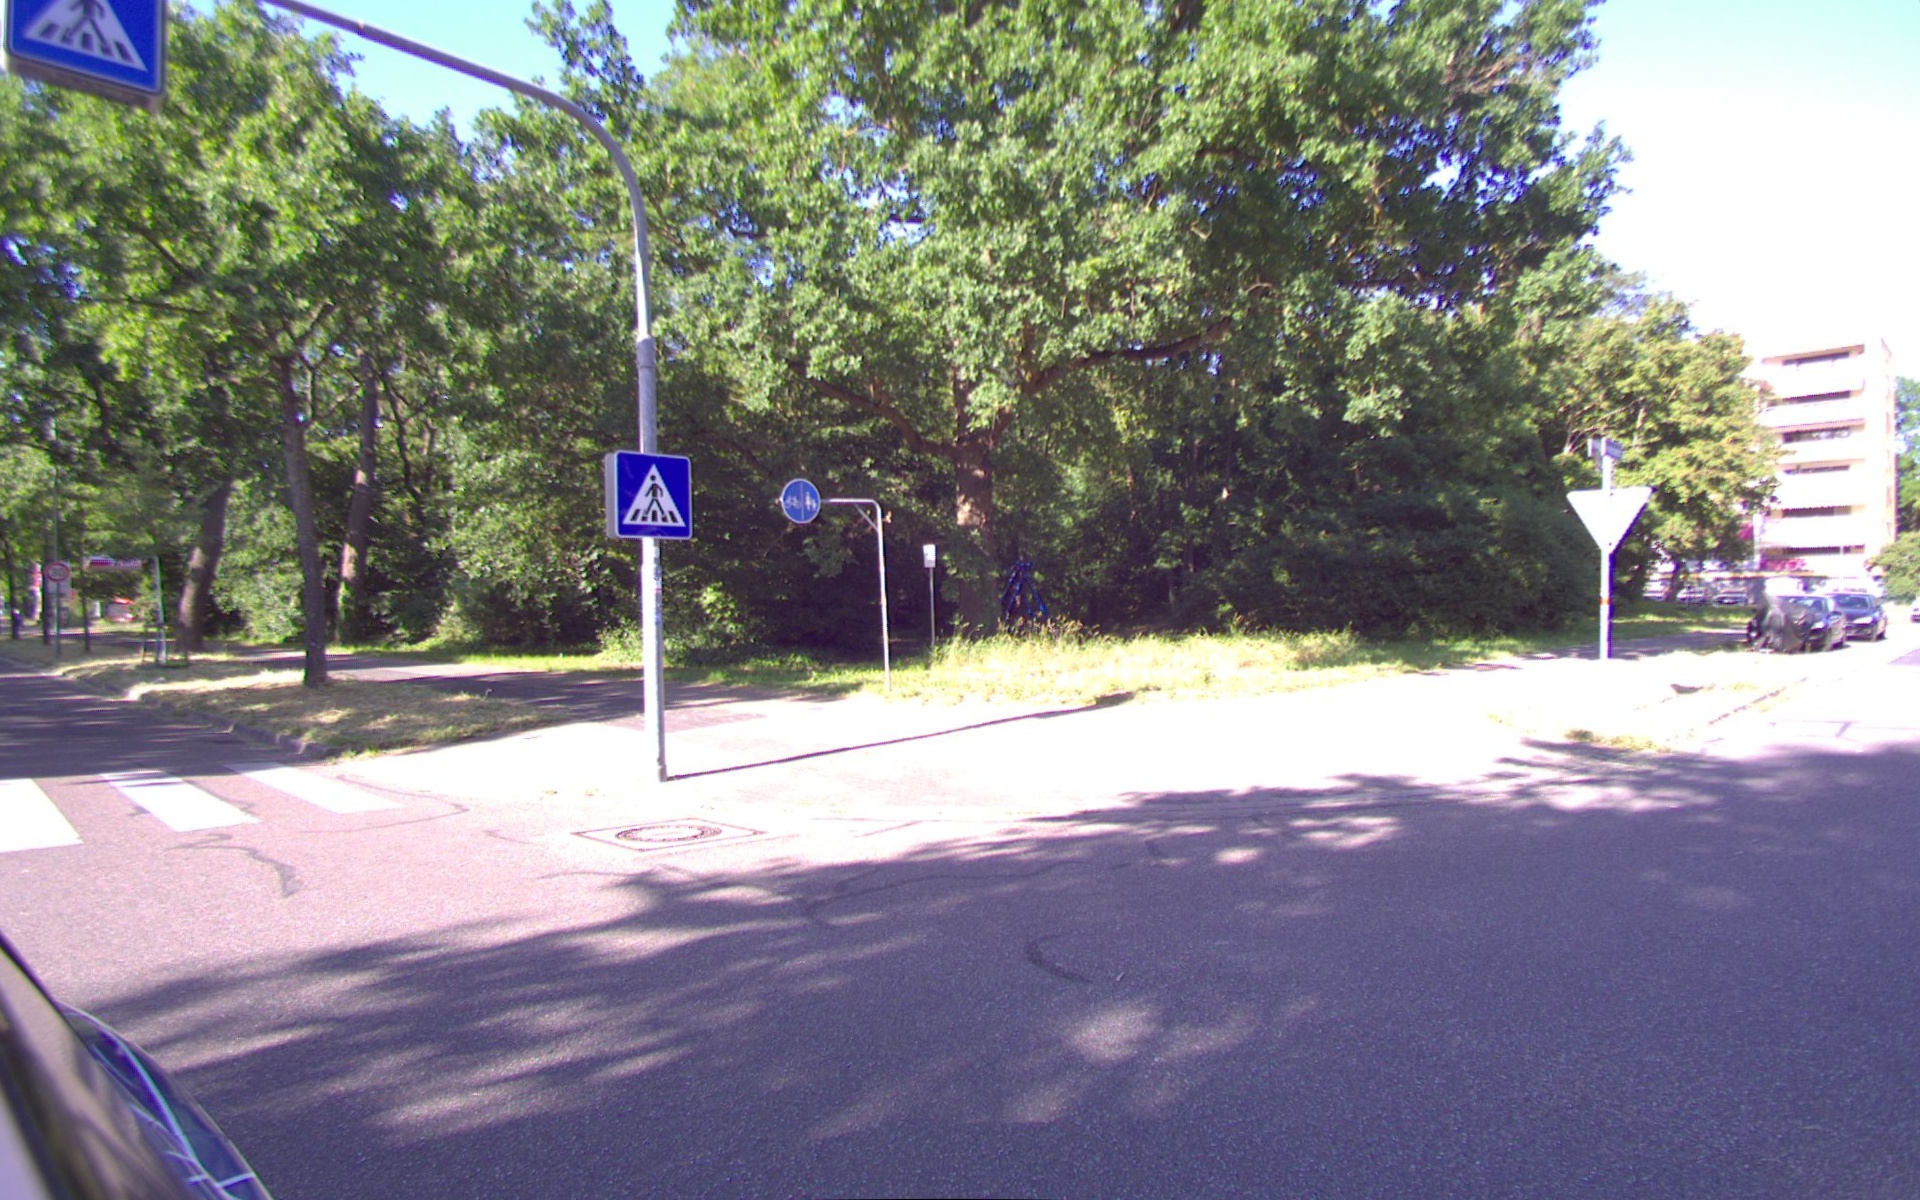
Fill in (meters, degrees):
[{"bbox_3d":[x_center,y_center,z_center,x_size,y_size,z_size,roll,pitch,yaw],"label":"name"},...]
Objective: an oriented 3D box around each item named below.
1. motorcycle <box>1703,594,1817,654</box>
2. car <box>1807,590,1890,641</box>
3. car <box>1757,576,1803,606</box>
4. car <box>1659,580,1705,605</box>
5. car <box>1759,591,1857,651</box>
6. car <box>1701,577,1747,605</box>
[{"bbox_3d":[18.676,0.557,23.665,1.944,1.354,0.672,-1,0,16],"label":"motorcycle"},{"bbox_3d":[26.692,0.442,30.362,3.535,1.402,1.561,-1,0,-44],"label":"car"},{"bbox_3d":[51.661,-0.575,63.709,3.779,1.757,1.764,-1,0,-44],"label":"car"},{"bbox_3d":[48.083,-0.515,67.372,3.779,1.538,1.802,-1,0,-44],"label":"car"},{"bbox_3d":[22.120,0.507,26.353,3.535,1.402,1.561,-1,0,-44],"label":"car"},{"bbox_3d":[49.922,-0.596,66.115,3.779,1.757,1.764,-1,0,-44],"label":"car"}]
